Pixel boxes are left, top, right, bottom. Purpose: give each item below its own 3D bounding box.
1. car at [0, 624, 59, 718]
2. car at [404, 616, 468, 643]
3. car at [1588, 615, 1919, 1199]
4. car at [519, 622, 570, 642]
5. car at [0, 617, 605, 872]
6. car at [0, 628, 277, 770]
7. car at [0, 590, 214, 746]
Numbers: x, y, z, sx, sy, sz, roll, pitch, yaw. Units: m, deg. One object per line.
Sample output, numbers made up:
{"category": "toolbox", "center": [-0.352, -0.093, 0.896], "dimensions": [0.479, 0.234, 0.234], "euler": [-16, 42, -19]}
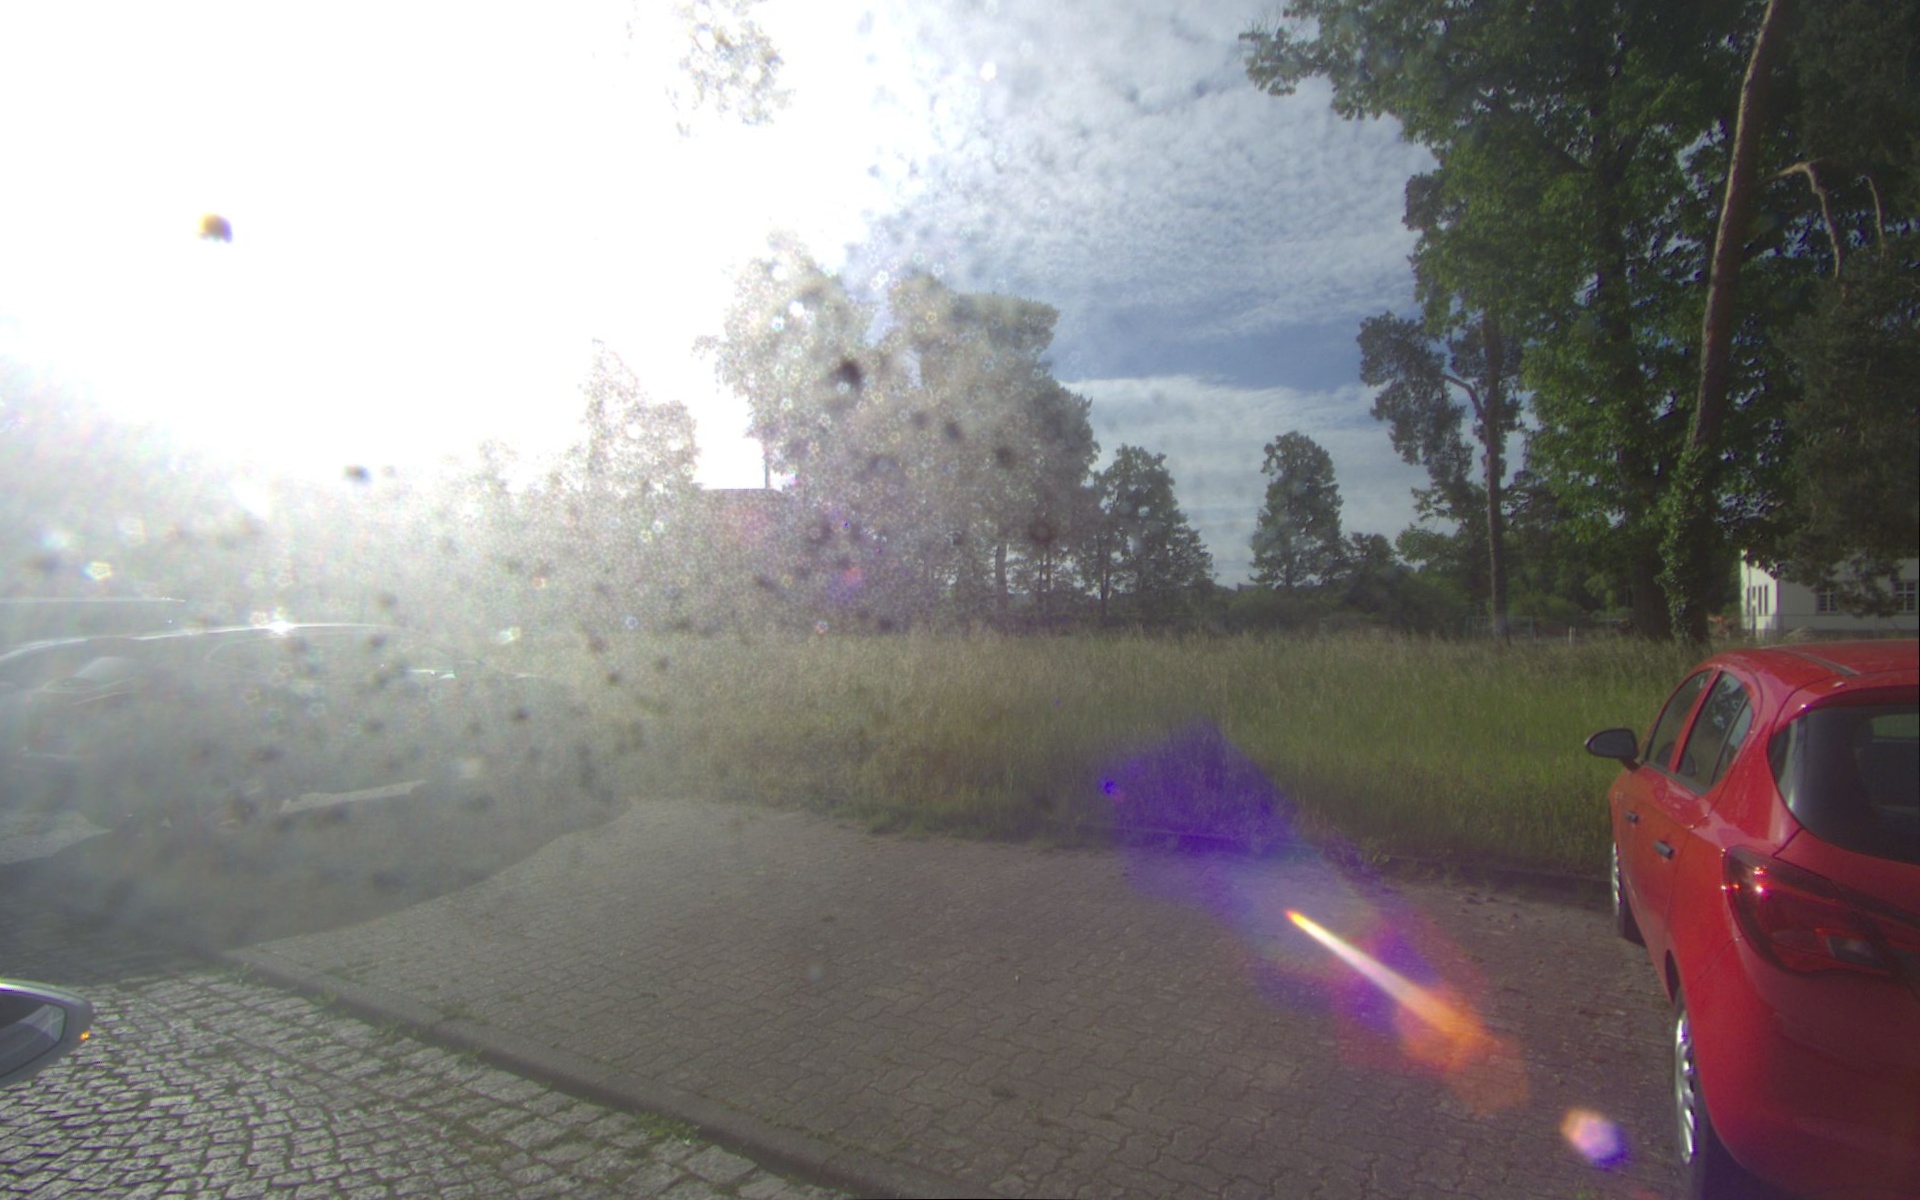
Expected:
{"category": "car", "center": [-17.294, 1.189, 16.086], "dimensions": [1.782, 1.550, 3.868], "euler": [-1, -1, 31]}
{"category": "car", "center": [-50.959, 2.847, 97.460], "dimensions": [2.232, 2.568, 5.150], "euler": [-1, -2, 32]}
{"category": "car", "center": [3.267, 0.827, 3.468], "dimensions": [1.662, 1.492, 3.871], "euler": [-1, -1, 30]}
{"category": "car", "center": [-37.153, 2.888, 89.624], "dimensions": [1.828, 1.701, 3.929], "euler": [-1, -2, 29]}
{"category": "car", "center": [-5.398, 0.977, 8.679], "dimensions": [1.850, 1.609, 4.185], "euler": [-1, -1, 30]}
{"category": "car", "center": [-10.805, 1.115, 11.838], "dimensions": [1.779, 1.489, 4.188], "euler": [-1, -1, 27]}
{"category": "car", "center": [-12.947, 0.881, 13.080], "dimensions": [1.963, 1.954, 4.725], "euler": [-1, 0, 30]}
